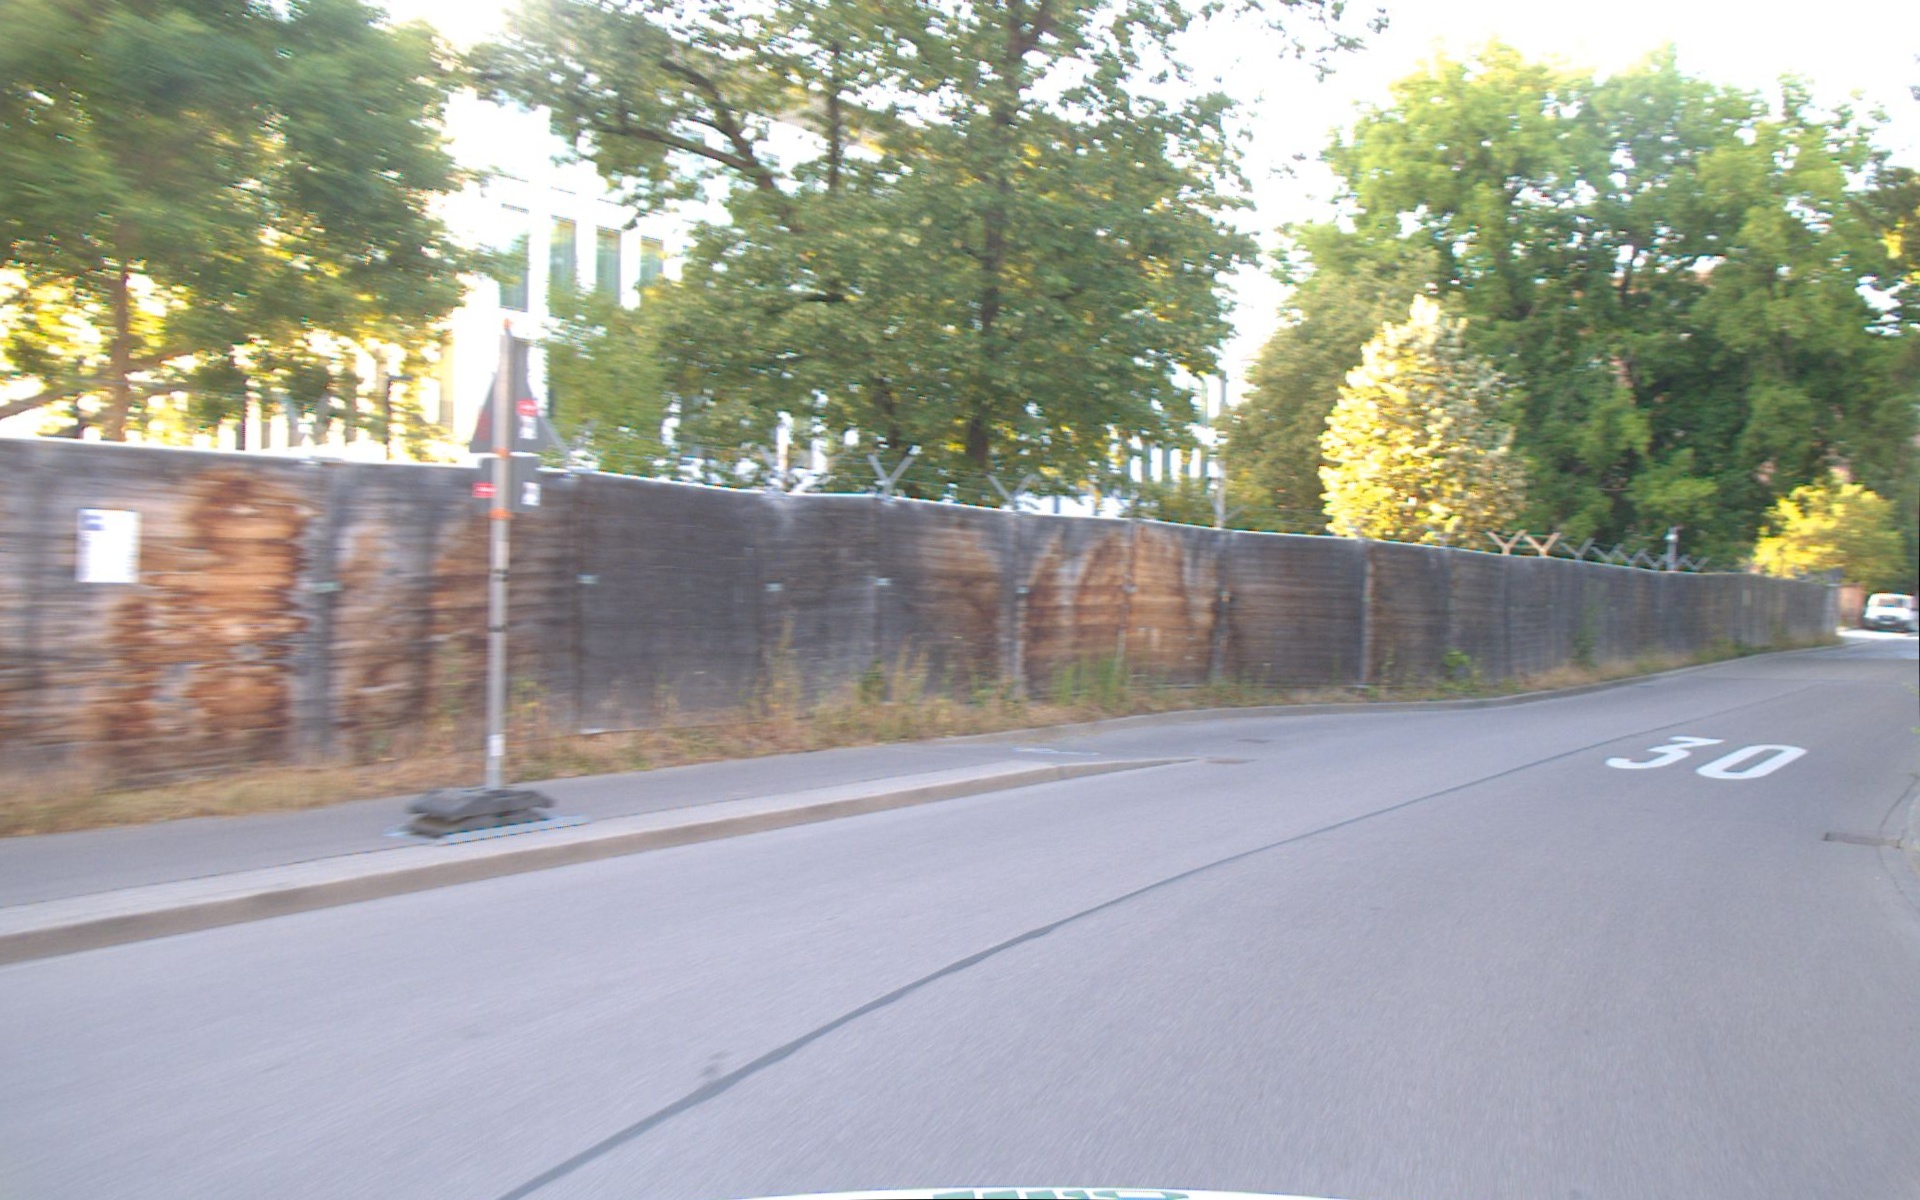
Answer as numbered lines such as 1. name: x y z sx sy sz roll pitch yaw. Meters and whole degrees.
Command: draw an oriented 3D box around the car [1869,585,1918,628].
1. car: 48.557 0.380 86.027 1.849 2.048 5.211 3 0 33
